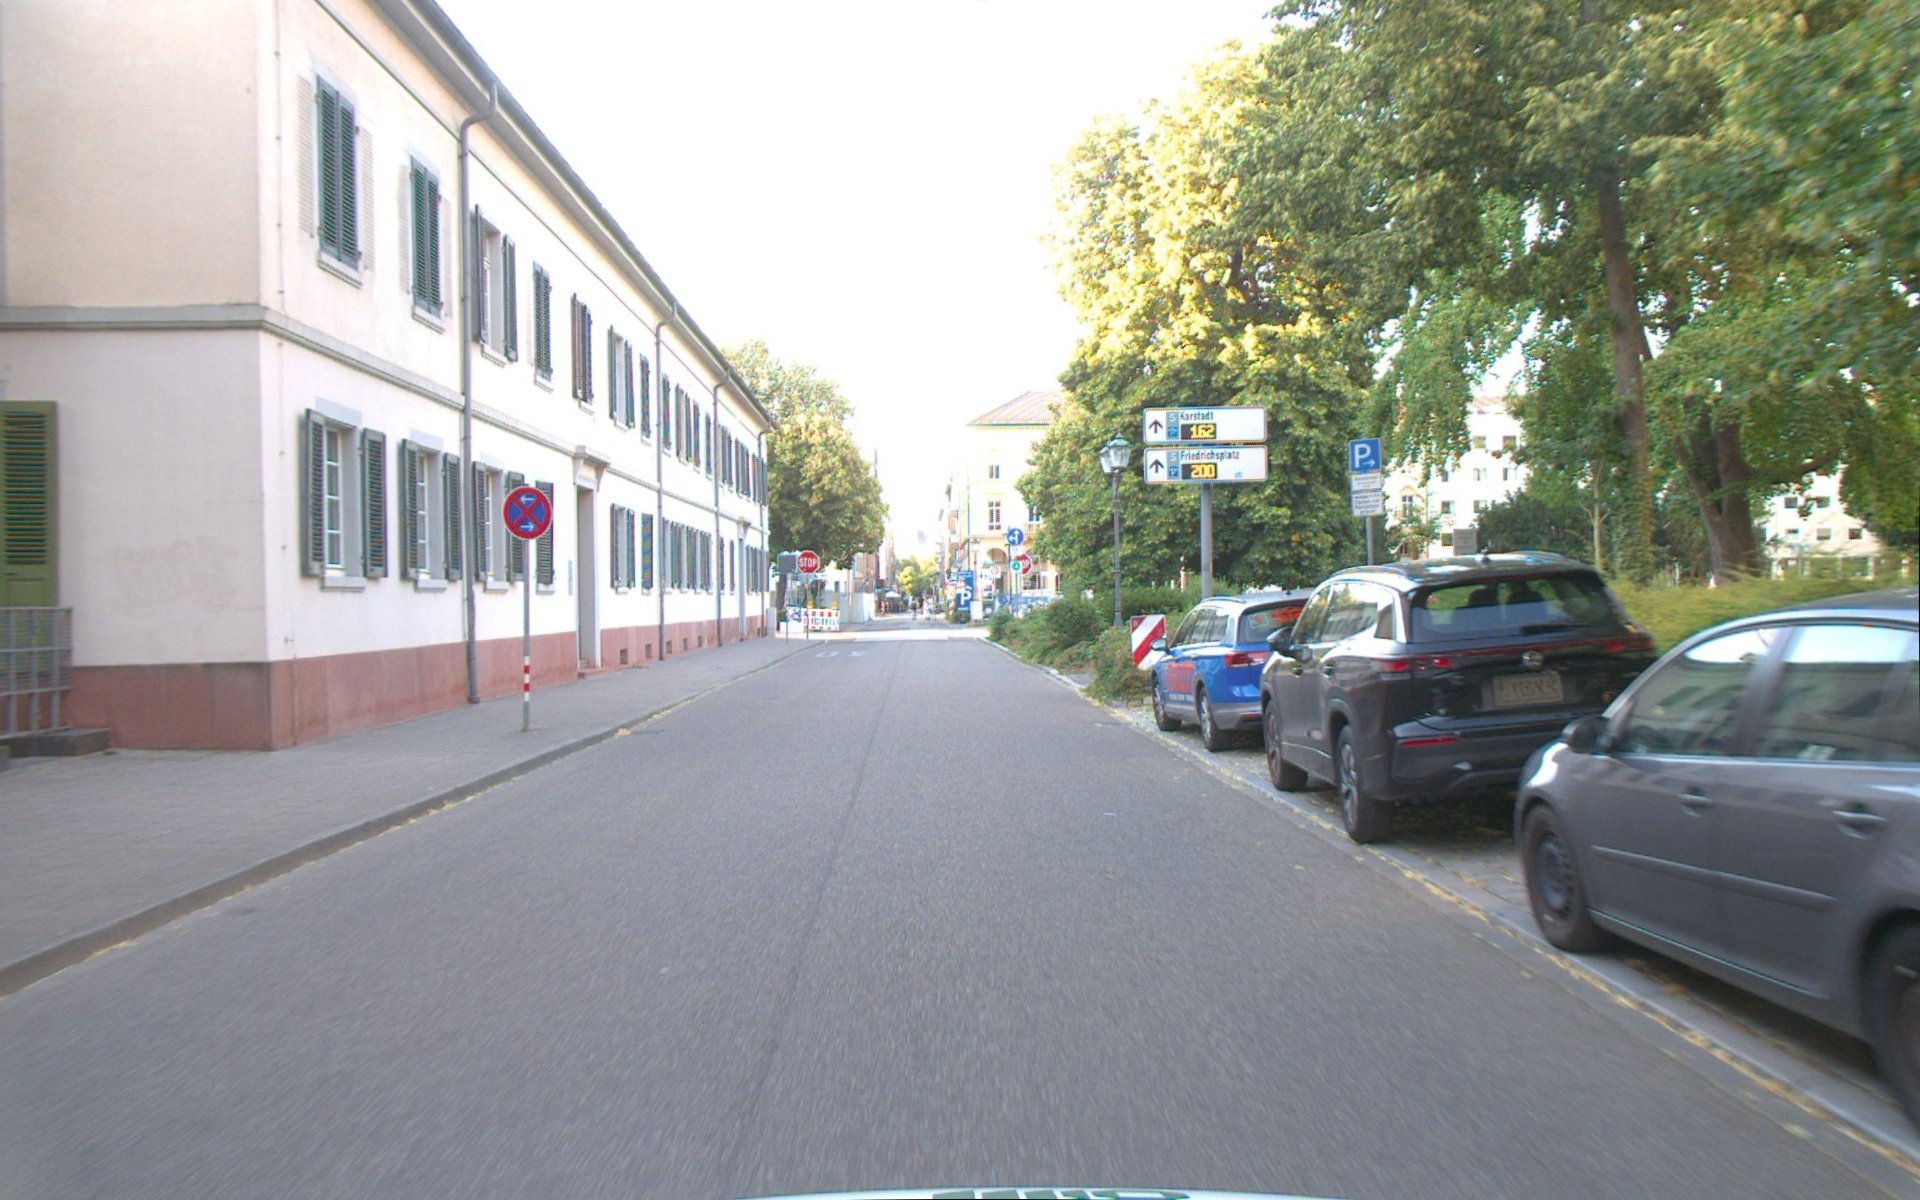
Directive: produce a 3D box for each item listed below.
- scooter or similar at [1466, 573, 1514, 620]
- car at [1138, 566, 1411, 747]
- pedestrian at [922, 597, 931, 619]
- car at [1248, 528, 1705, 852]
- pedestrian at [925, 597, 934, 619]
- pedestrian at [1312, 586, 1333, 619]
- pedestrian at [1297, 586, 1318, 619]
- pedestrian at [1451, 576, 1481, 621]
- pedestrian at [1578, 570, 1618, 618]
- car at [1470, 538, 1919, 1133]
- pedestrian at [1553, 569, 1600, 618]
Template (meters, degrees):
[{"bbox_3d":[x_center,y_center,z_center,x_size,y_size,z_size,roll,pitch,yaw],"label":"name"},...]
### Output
[{"bbox_3d":[14.488,-0.094,45.215,1.198,1.267,0.416,-2,0,-18],"label":"scooter or similar"},{"bbox_3d":[3.135,0.516,17.469,1.690,1.514,4.608,-5,0,-3],"label":"car"},{"bbox_3d":[-2.540,0.618,126.411,0.644,1.645,0.745,-1,0,-1],"label":"pedestrian"},{"bbox_3d":[3.175,0.499,11.226,1.688,1.680,4.714,-2,-1,1],"label":"car"},{"bbox_3d":[-2.364,0.618,128.024,0.644,1.664,0.745,-1,0,-1],"label":"pedestrian"},{"bbox_3d":[15.126,0.100,69.041,0.585,1.365,0.817,-1,0,-7],"label":"pedestrian"},{"bbox_3d":[14.483,0.097,68.979,0.585,1.365,0.817,-1,0,-7],"label":"pedestrian"},{"bbox_3d":[13.809,-0.037,45.117,0.649,1.212,0.794,-2,0,26],"label":"pedestrian"},{"bbox_3d":[18.677,-0.176,48.412,0.747,1.371,0.784,-2,0,-18],"label":"pedestrian"},{"bbox_3d":[3.311,0.605,5.640,1.689,1.565,4.188,-2,-1,-2],"label":"car"},{"bbox_3d":[17.896,-0.188,48.024,0.902,1.371,0.881,-2,0,-17],"label":"pedestrian"}]
